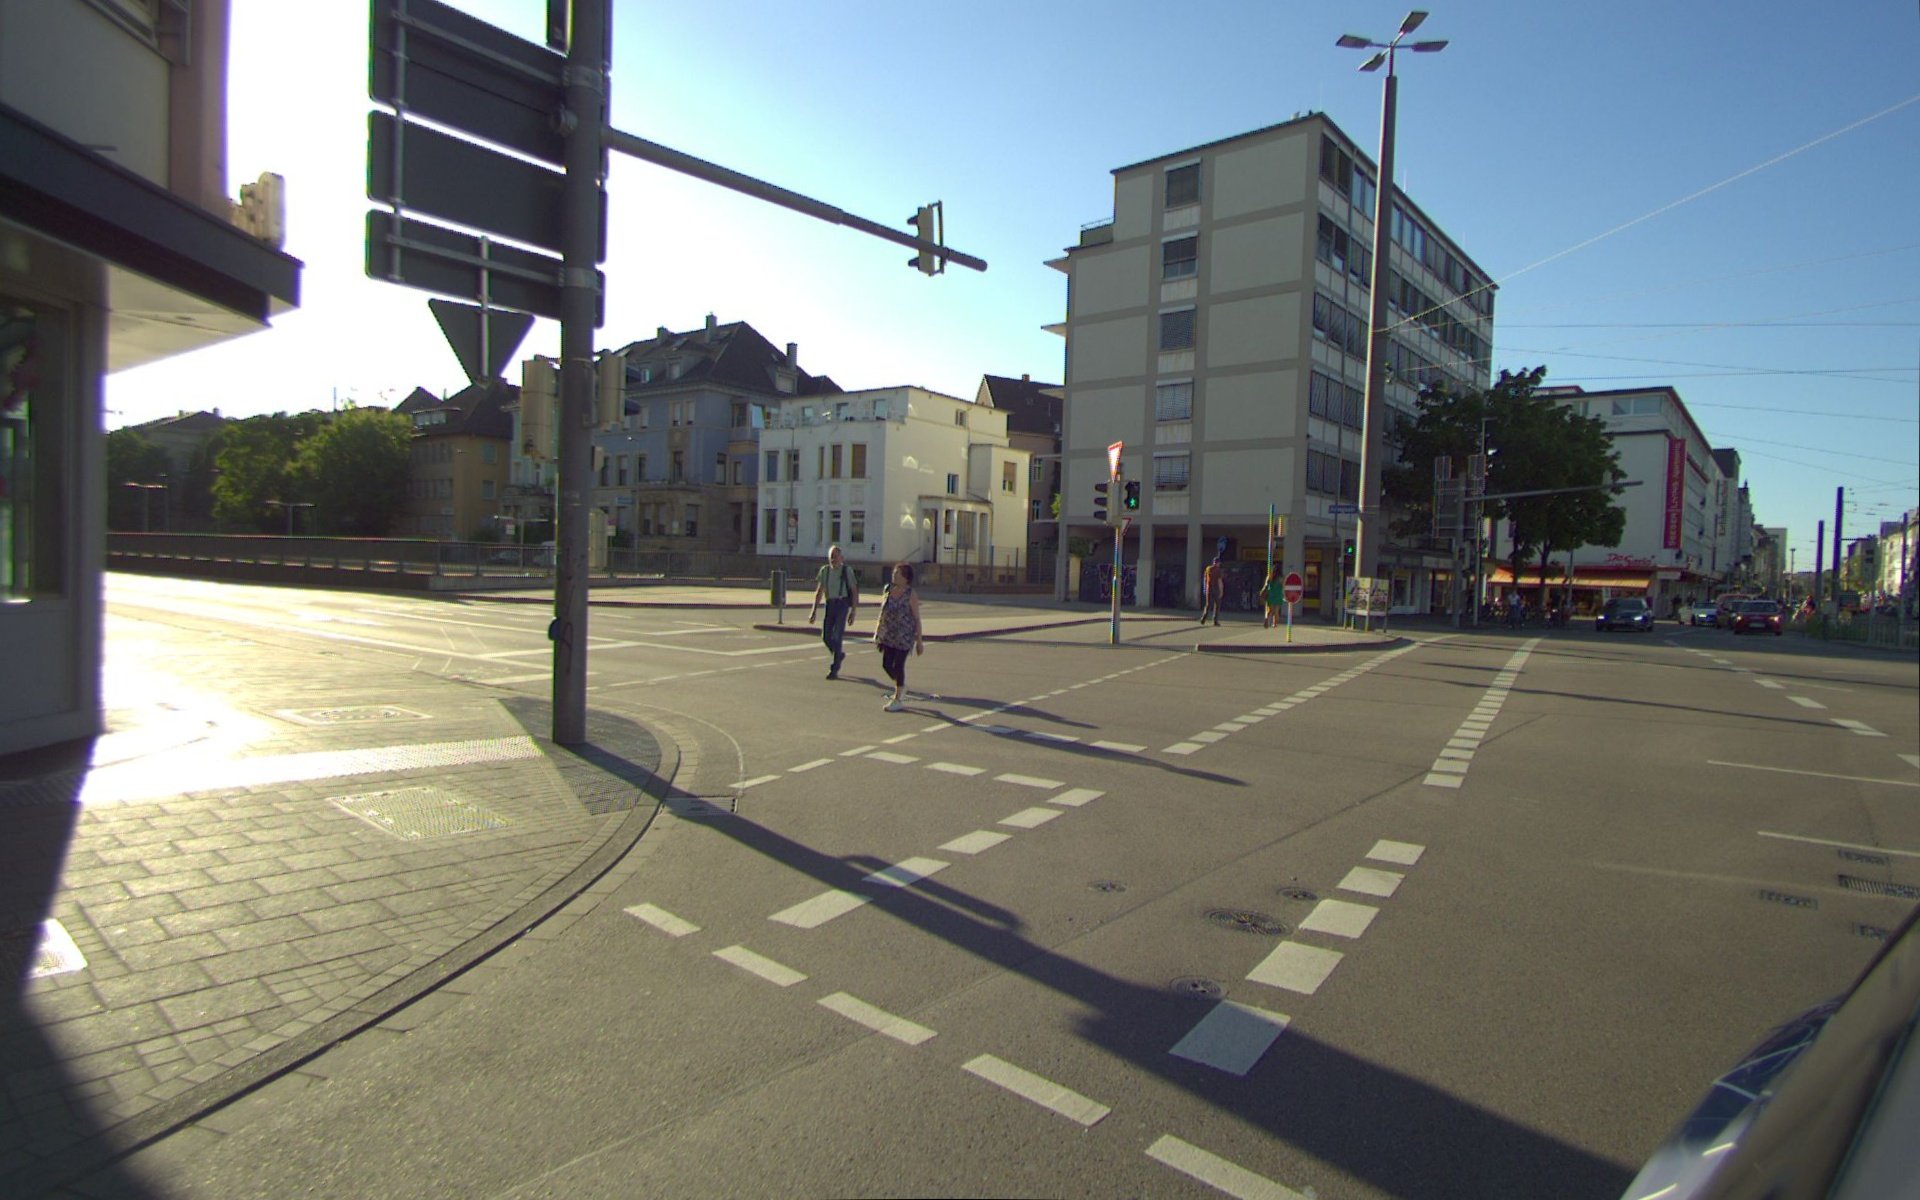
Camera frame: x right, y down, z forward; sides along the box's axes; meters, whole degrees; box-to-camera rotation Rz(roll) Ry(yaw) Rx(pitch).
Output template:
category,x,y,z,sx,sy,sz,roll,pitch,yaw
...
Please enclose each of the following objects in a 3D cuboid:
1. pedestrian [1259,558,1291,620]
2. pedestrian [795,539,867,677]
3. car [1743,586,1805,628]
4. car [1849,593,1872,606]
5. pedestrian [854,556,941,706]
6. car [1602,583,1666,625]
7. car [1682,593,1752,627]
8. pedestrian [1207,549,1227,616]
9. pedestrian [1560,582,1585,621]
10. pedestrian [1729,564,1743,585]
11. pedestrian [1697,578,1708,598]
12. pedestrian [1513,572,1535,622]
category,x,y,z,sx,sy,sz,roll,pitch,yaw
pedestrian,7.635,-0.263,24.535,0.592,1.460,0.607,3,2,29
pedestrian,-1.745,0.087,13.745,0.646,1.790,0.808,2,2,18
car,35.024,0.283,43.525,1.964,1.695,4.804,1,1,40
car,127.212,-0.047,143.044,1.962,1.695,4.811,1,1,36
pedestrian,-0.673,0.312,10.969,0.685,1.554,0.607,3,2,29
car,29.065,0.163,43.575,1.962,1.695,4.809,1,1,37
car,41.480,0.512,55.569,1.951,1.695,4.836,1,1,23
pedestrian,6.746,-0.446,26.556,0.403,1.739,0.391,0,0,29
pedestrian,27.459,0.045,45.392,0.856,1.731,1.038,1,1,36
pedestrian,53.792,-1.759,70.148,0.592,1.460,0.607,3,2,29
pedestrian,55.486,-0.920,75.671,0.594,1.460,0.605,3,2,38
pedestrian,23.346,-0.119,41.893,0.740,2.039,1.061,0,0,27
